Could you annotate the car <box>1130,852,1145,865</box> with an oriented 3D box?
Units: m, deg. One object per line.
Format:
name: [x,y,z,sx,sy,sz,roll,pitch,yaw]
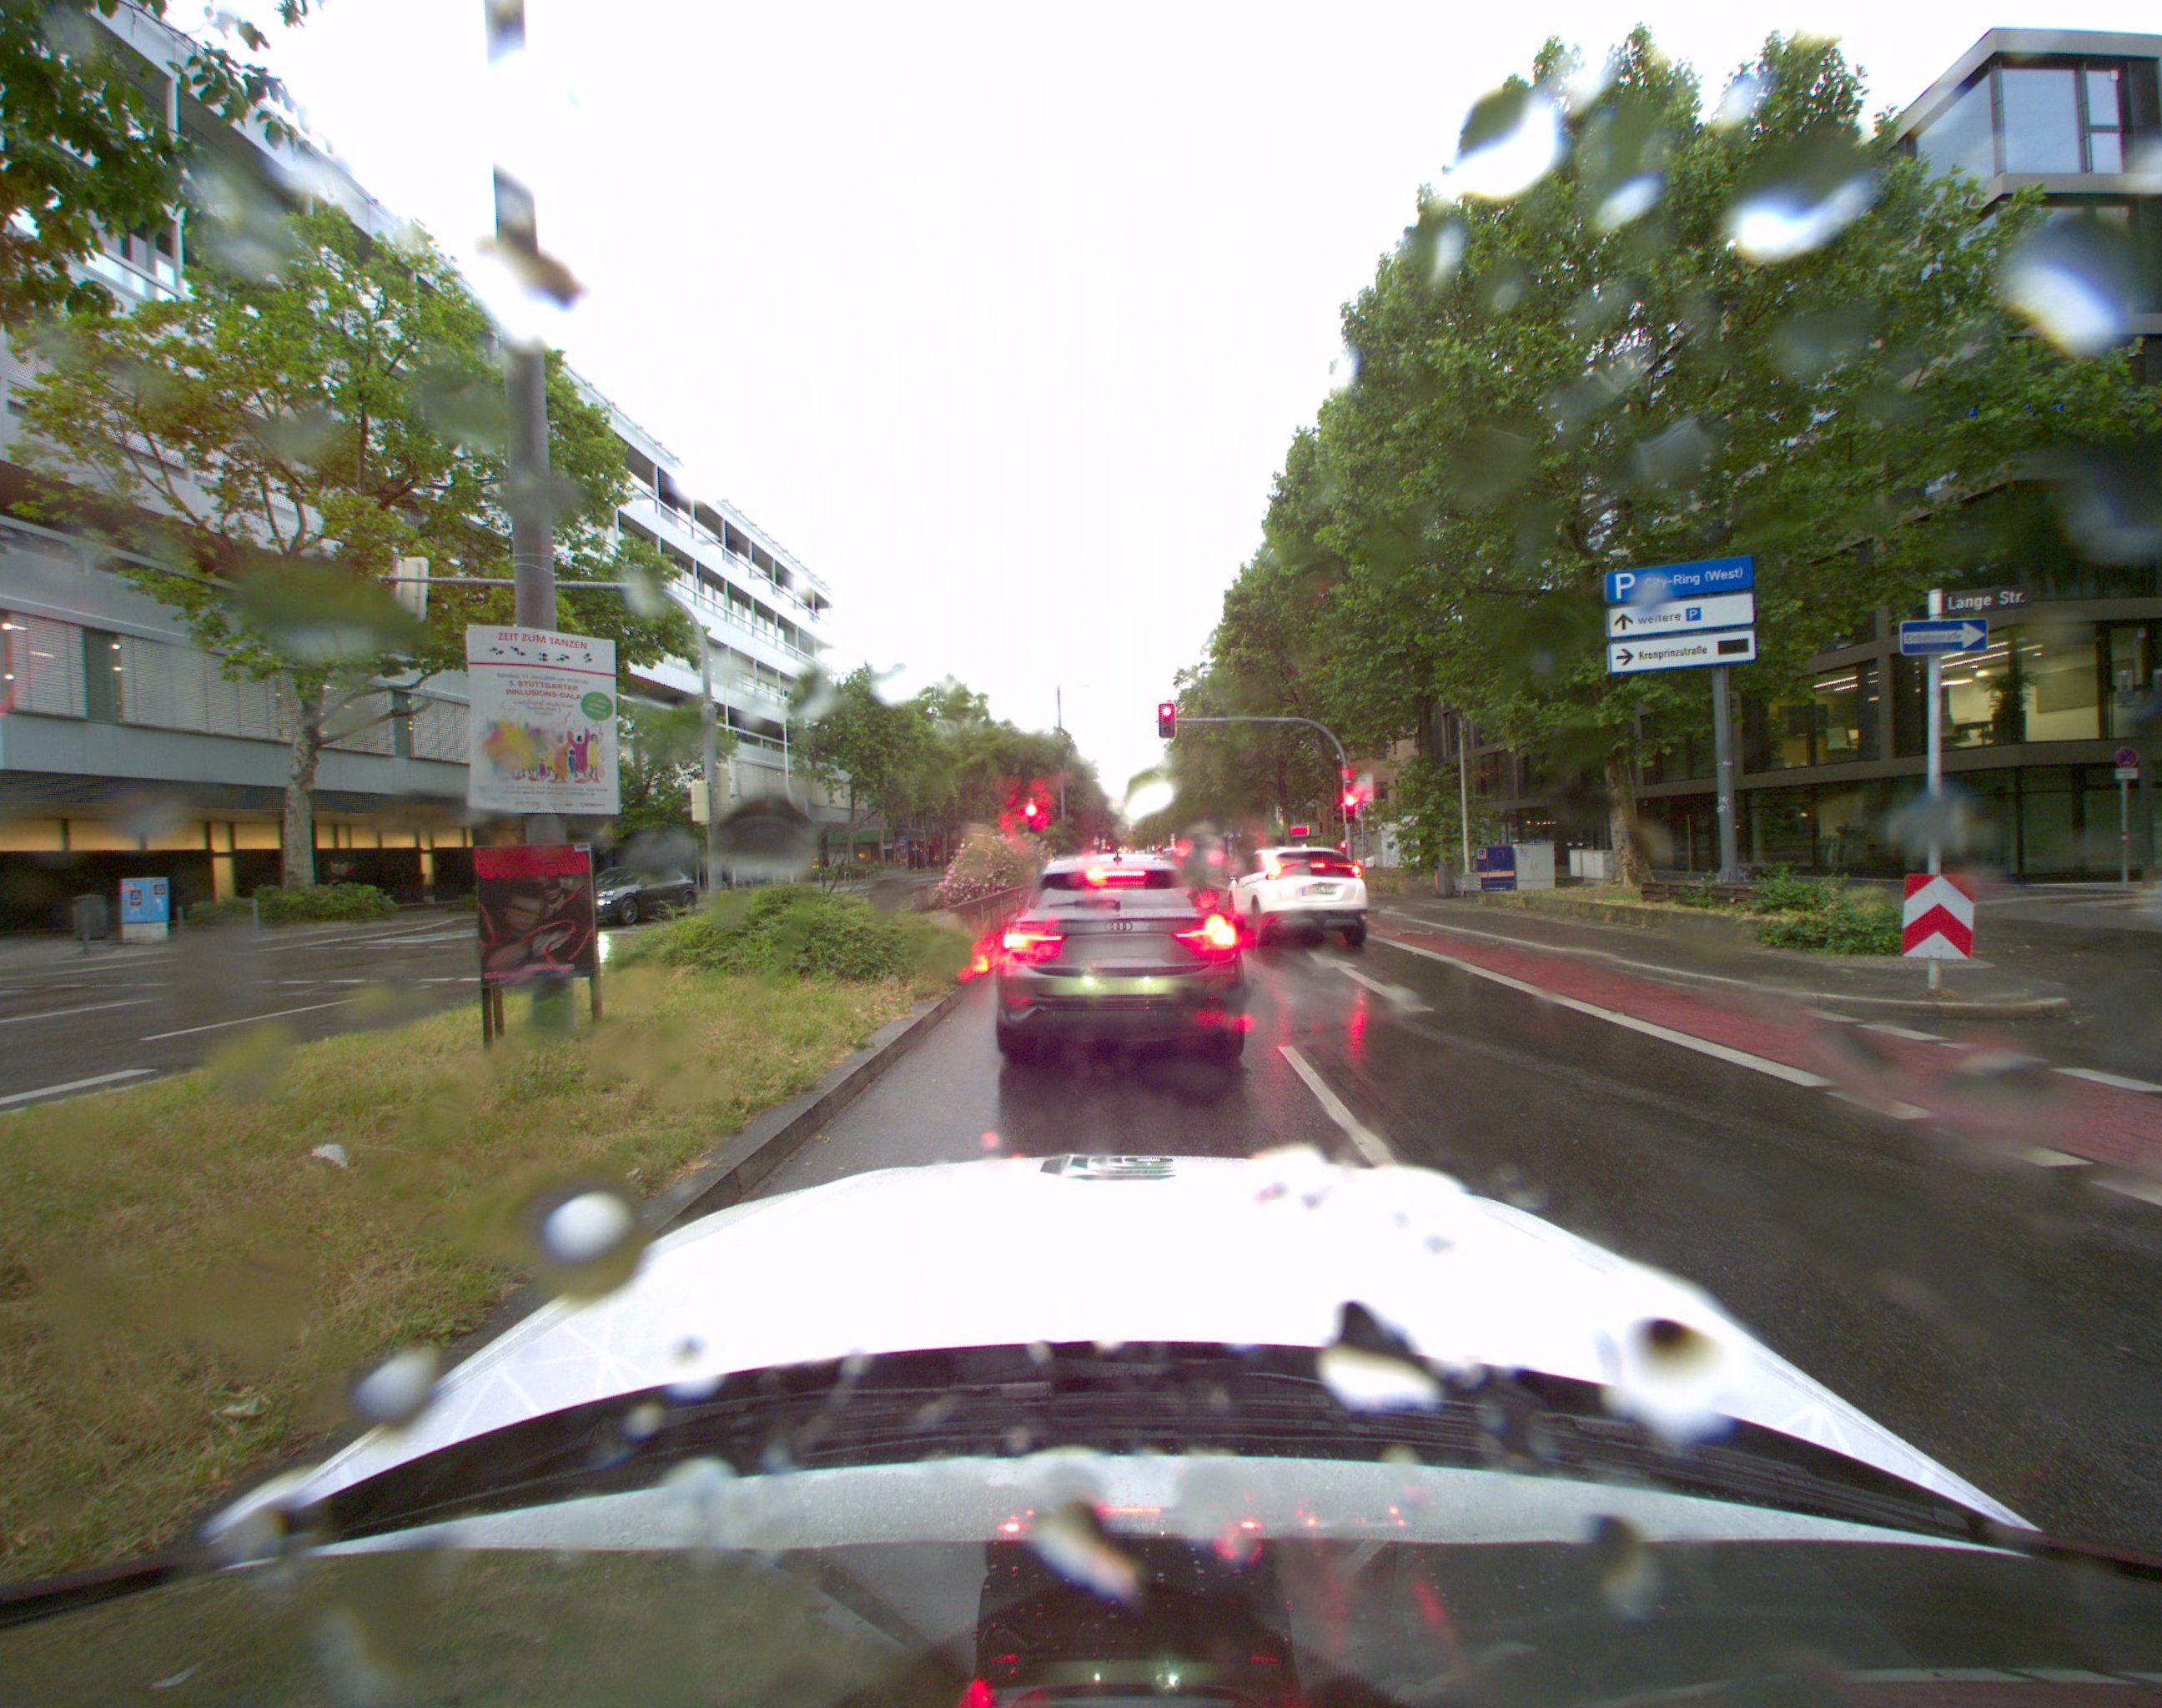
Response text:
car: [7.767,0.654,112.379,1.986,1.726,4.002,0,-1,2]

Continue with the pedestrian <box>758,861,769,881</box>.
pedestrian: [-22.276,1.178,57.168,0.637,1.380,0.473,0,-1,-9]

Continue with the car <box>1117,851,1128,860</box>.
car: [7.471,0.314,146.917,1.889,1.599,3.940,0,-1,2]

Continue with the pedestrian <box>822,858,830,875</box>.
pedestrian: [-21.806,1.047,69.691,0.609,1.482,0.573,0,-1,-9]

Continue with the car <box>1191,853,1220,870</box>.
car: [10.416,0.637,68.429,1.865,1.421,4.614,0,0,3]

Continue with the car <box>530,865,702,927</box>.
car: [-13.317,1.141,23.750,1.900,1.584,4.754,0,-1,6]

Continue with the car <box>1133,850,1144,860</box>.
car: [10.731,0.184,151.137,1.985,1.651,4.003,0,-1,3]

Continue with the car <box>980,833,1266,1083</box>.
car: [0.332,0.687,7.342,1.842,1.602,4.001,-1,0,2]

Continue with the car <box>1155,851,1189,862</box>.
car: [13.761,0.390,123.139,4.594,1.706,2.012,-1,-1,30]

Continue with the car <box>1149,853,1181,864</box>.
car: [13.124,0.735,127.743,4.594,1.706,2.012,-1,-1,30]

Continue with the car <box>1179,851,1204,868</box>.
car: [10.675,0.567,78.997,1.723,1.571,4.070,0,-1,-2]

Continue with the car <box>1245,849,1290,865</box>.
car: [13.352,0.221,58.335,2.856,1.074,1.465,-1,-1,33]

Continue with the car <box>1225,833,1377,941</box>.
car: [3.852,0.549,14.977,1.870,1.697,4.002,0,-1,3]

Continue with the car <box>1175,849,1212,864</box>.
car: [14.965,0.361,108.868,4.548,2.014,1.980,-1,-1,41]

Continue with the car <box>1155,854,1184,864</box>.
car: [15.299,0.902,140.437,4.594,1.706,2.012,-1,-1,30]
